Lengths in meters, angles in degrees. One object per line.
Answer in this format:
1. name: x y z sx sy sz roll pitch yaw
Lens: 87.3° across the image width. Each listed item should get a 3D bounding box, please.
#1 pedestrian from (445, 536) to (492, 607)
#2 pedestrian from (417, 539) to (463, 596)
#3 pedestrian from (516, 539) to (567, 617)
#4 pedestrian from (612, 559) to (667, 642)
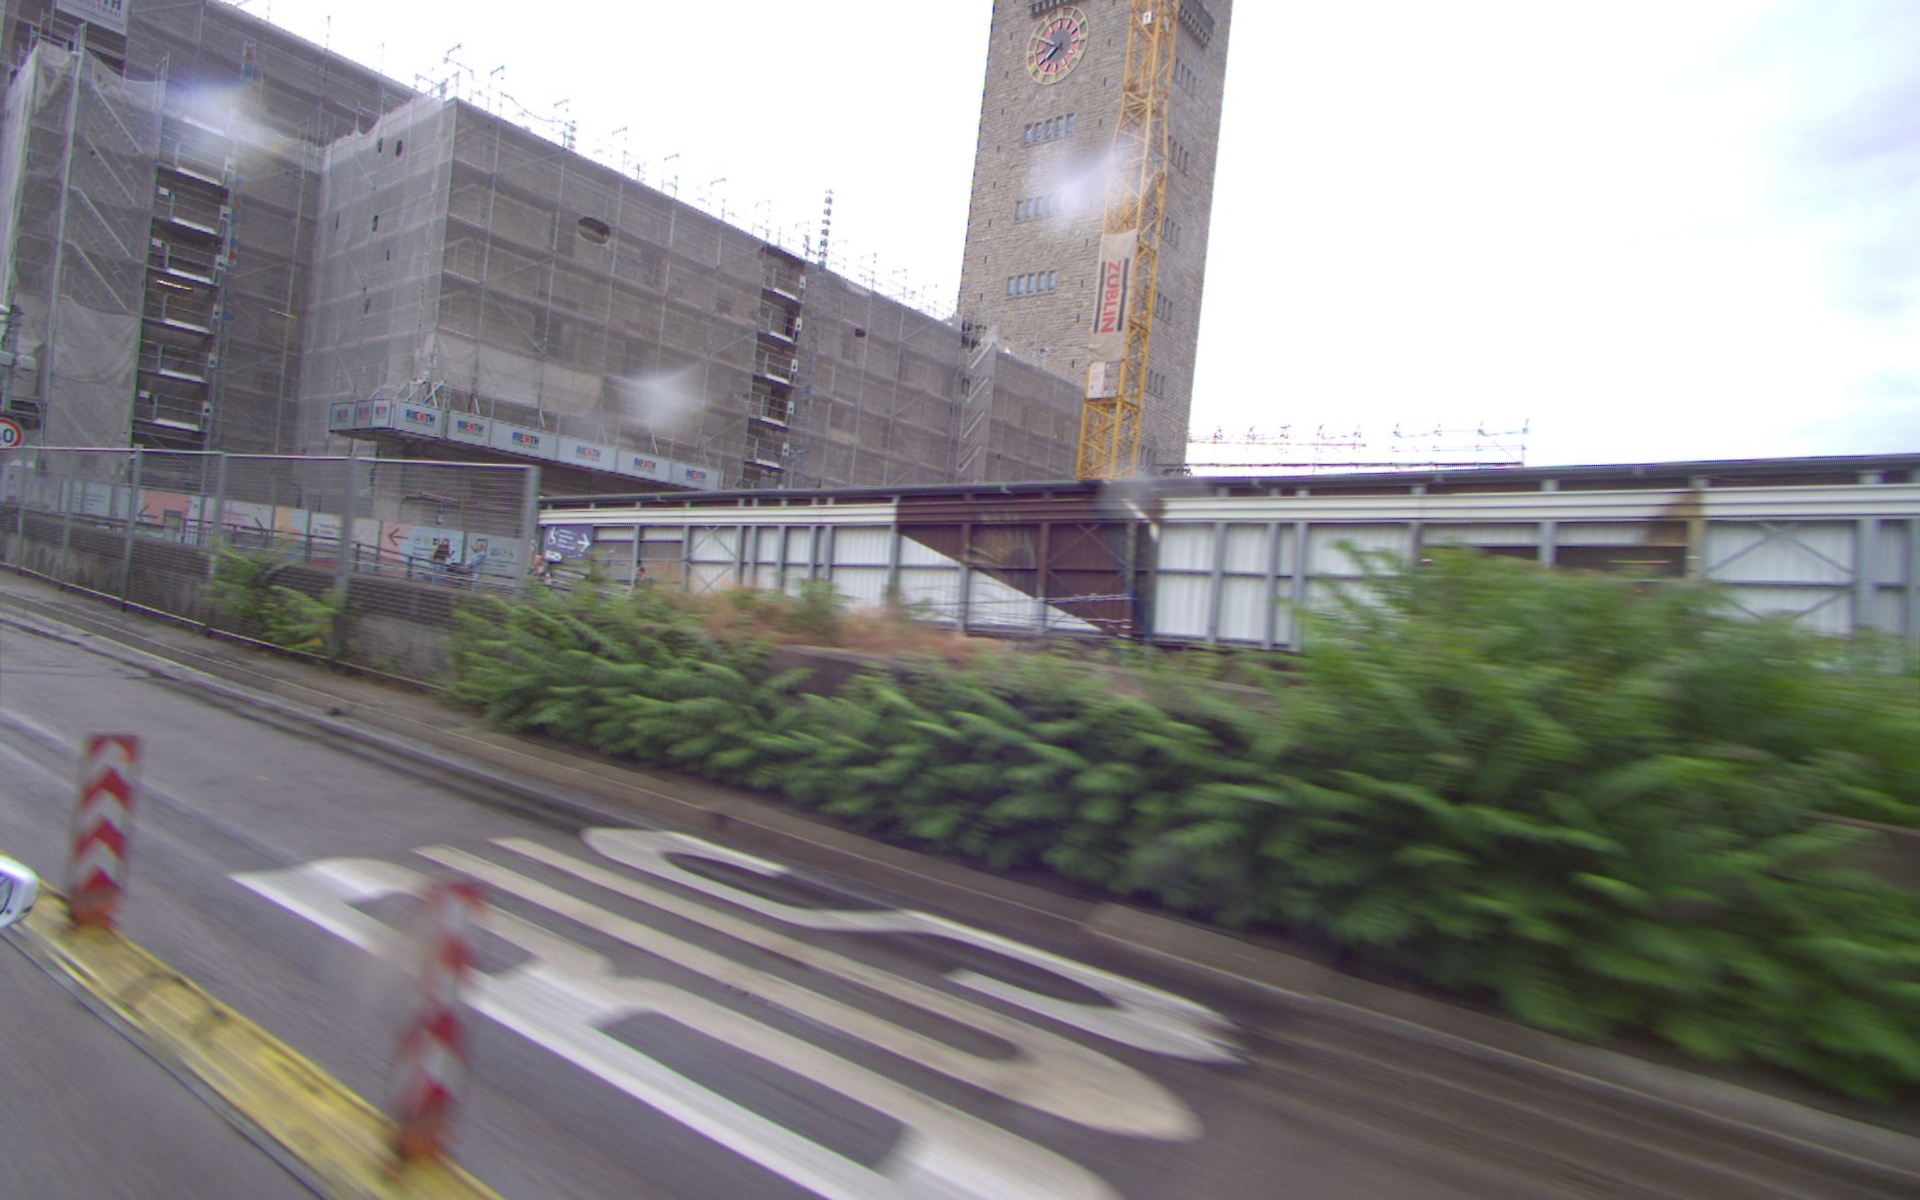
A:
1. pedestrian: -15.082 -0.859 30.881 0.752 2.037 0.806 6 -2 30
2. pedestrian: -16.017 -0.986 30.993 0.697 1.611 0.856 6 -2 30
3. pedestrian: -11.612 -0.601 27.915 0.752 2.037 0.780 6 -2 30
4. pedestrian: -8.409 0.020 26.402 0.752 2.037 0.866 6 -2 30
